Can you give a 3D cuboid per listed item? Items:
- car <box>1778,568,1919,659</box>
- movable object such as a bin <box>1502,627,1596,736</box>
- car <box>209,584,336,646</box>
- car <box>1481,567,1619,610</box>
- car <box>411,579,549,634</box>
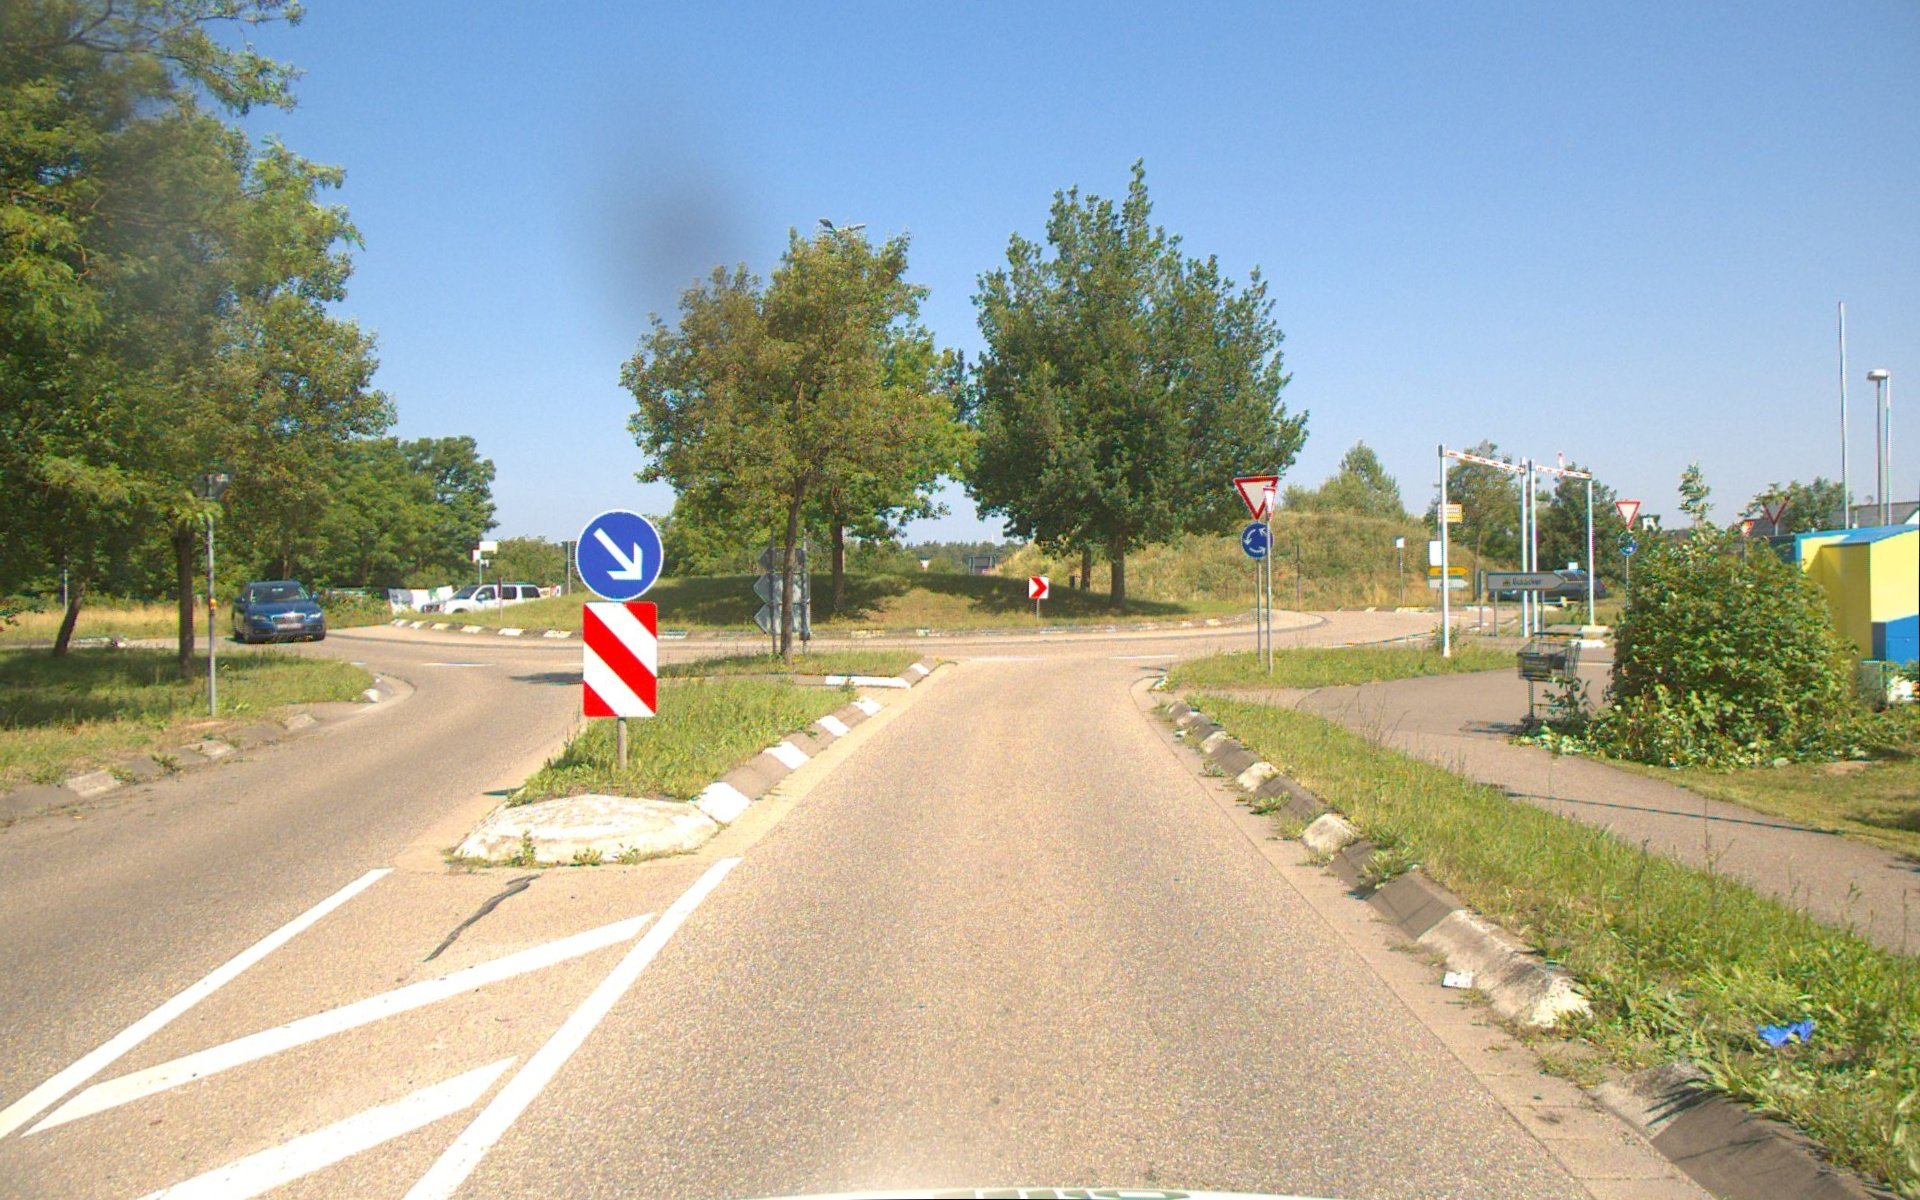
[{"bbox_3d":[17.370,0.226,30.029,4.338,1.599,1.710,0,1,35],"label":"car"},{"bbox_3d":[6.730,0.900,18.871,0.851,1.140,1.454,0,1,26],"label":"movable object such as a bin"},{"bbox_3d":[-17.205,0.361,41.275,1.820,1.411,4.364,-2,1,-38],"label":"car"},{"bbox_3d":[22.770,-0.455,63.919,4.674,1.620,1.995,-1,1,-11],"label":"car"},{"bbox_3d":[-17.303,0.203,59.845,1.863,1.847,4.577,-1,1,37],"label":"car"}]
